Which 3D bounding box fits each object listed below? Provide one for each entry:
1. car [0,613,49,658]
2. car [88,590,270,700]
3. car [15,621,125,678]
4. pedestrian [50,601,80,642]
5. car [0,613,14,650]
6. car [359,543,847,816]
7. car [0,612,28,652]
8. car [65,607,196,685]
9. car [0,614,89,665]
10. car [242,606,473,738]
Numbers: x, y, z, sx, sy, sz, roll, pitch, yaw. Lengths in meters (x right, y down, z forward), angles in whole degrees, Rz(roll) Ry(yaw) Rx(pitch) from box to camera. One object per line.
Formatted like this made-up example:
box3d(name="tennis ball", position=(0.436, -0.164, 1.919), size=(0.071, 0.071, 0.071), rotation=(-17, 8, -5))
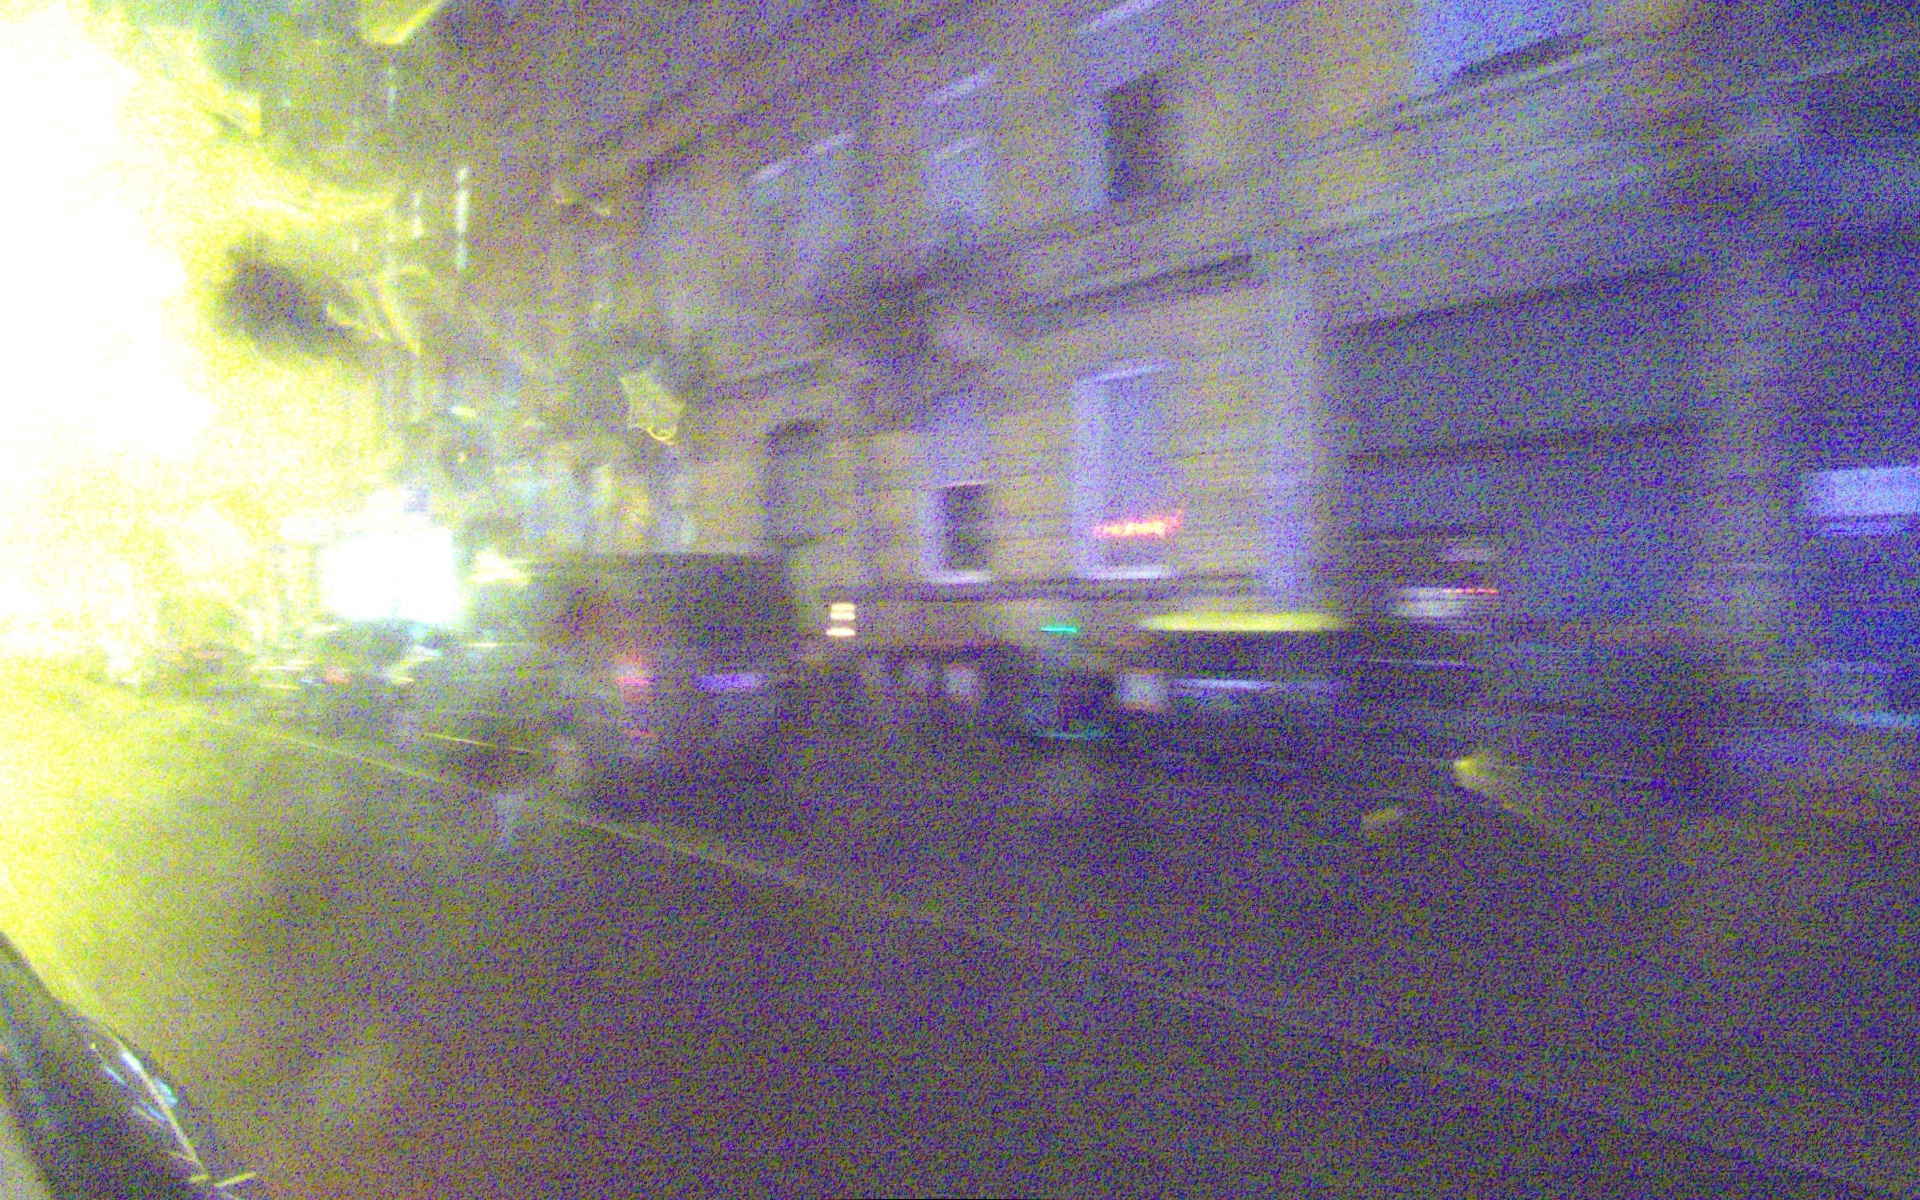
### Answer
box3d(name="car", position=(-32.588, 1.206, 34.817), size=(3.382, 1.464, 1.512), rotation=(-1, -1, 42))
box3d(name="car", position=(-14.897, 0.787, 19.202), size=(4.827, 1.843, 1.882), rotation=(-1, -1, 42))
box3d(name="car", position=(-23.970, 1.266, 27.202), size=(4.553, 1.402, 1.708), rotation=(-1, -1, 42))
box3d(name="pedestrian", position=(-40.627, 0.961, 45.930), size=(0.629, 1.801, 0.900), rotation=(0, 2, 42))
box3d(name="car", position=(-40.219, 1.315, 41.597), size=(3.962, 1.490, 1.674), rotation=(-3, -2, 43))
box3d(name="car", position=(-3.522, 0.573, 9.304), size=(5.205, 1.843, 1.975), rotation=(-1, -1, 42))
box3d(name="car", position=(-37.146, 1.271, 38.994), size=(1.673, 1.490, 3.385), rotation=(0, -2, -45))
box3d(name="car", position=(-18.672, 0.975, 22.735), size=(3.718, 1.587, 1.708), rotation=(-1, -1, 42))
box3d(name="car", position=(-28.303, 1.167, 31.148), size=(4.271, 1.464, 1.708), rotation=(-1, -1, 42))
box3d(name="car", position=(-7.900, 0.835, 13.146), size=(3.718, 1.471, 1.552), rotation=(-1, -1, 42))
